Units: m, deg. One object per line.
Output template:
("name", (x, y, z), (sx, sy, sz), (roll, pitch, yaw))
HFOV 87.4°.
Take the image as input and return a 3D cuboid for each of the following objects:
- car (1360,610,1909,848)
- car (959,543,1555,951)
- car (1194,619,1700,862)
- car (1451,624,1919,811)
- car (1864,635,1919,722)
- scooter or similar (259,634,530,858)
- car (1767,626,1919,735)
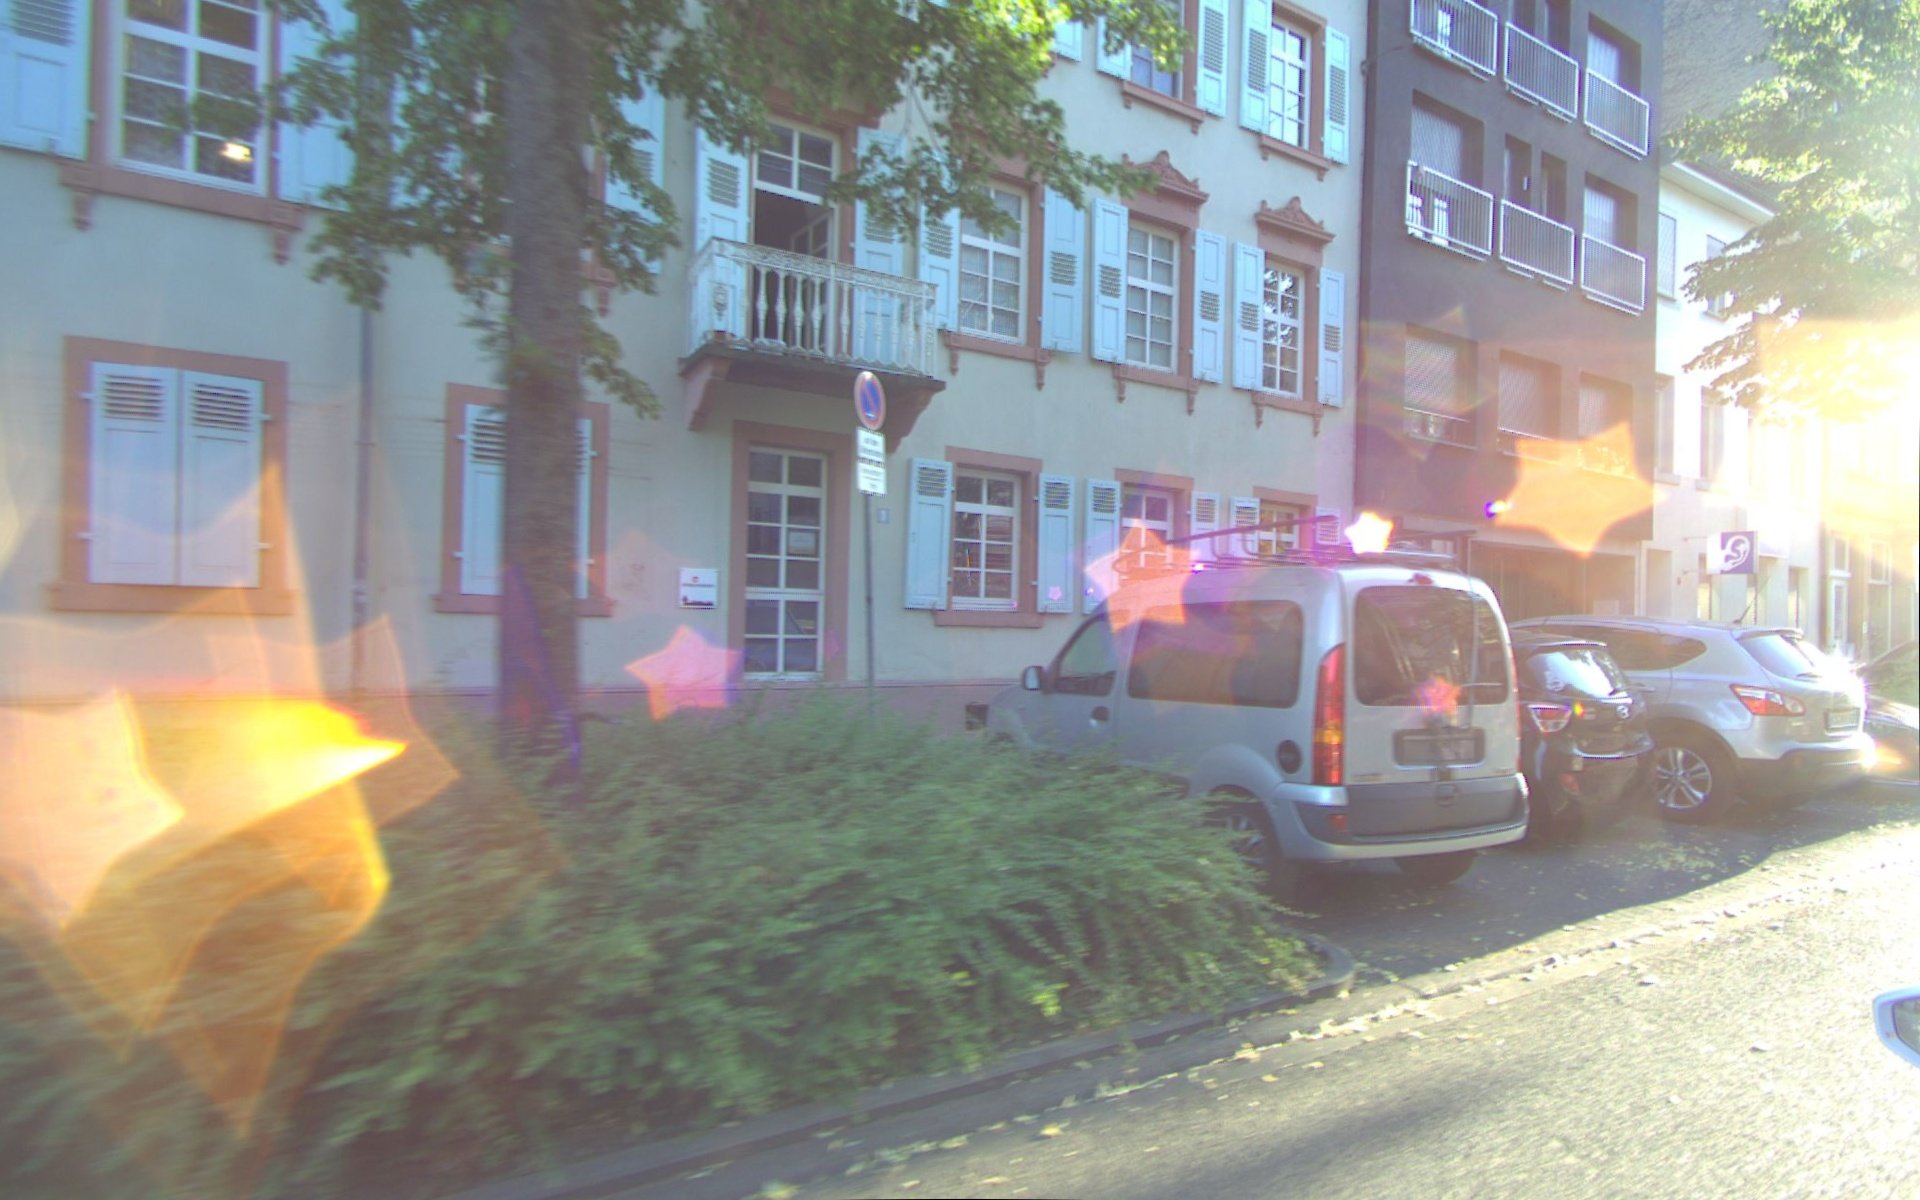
("car", (5.834, 0.965, 9.218), (1.719, 1.606, 3.811), (3, 0, -27))
("car", (1.600, 0.722, 6.709), (1.678, 1.874, 3.797), (2, -1, -26))
("car", (3.767, 0.953, 8.441), (1.626, 1.535, 3.639), (2, -1, -25))
("car", (7.767, 1.076, 10.795), (1.744, 1.536, 4.183), (2, -2, -33))
("car", (17.013, 1.338, 16.114), (1.665, 1.410, 3.383), (2, -1, -28))
("scooter or similar", (-3.479, 0.844, 6.267), (1.378, 1.238, 0.672), (2, -1, -31))
("car", (14.839, 1.228, 15.051), (1.835, 1.537, 3.875), (2, -1, -29))
